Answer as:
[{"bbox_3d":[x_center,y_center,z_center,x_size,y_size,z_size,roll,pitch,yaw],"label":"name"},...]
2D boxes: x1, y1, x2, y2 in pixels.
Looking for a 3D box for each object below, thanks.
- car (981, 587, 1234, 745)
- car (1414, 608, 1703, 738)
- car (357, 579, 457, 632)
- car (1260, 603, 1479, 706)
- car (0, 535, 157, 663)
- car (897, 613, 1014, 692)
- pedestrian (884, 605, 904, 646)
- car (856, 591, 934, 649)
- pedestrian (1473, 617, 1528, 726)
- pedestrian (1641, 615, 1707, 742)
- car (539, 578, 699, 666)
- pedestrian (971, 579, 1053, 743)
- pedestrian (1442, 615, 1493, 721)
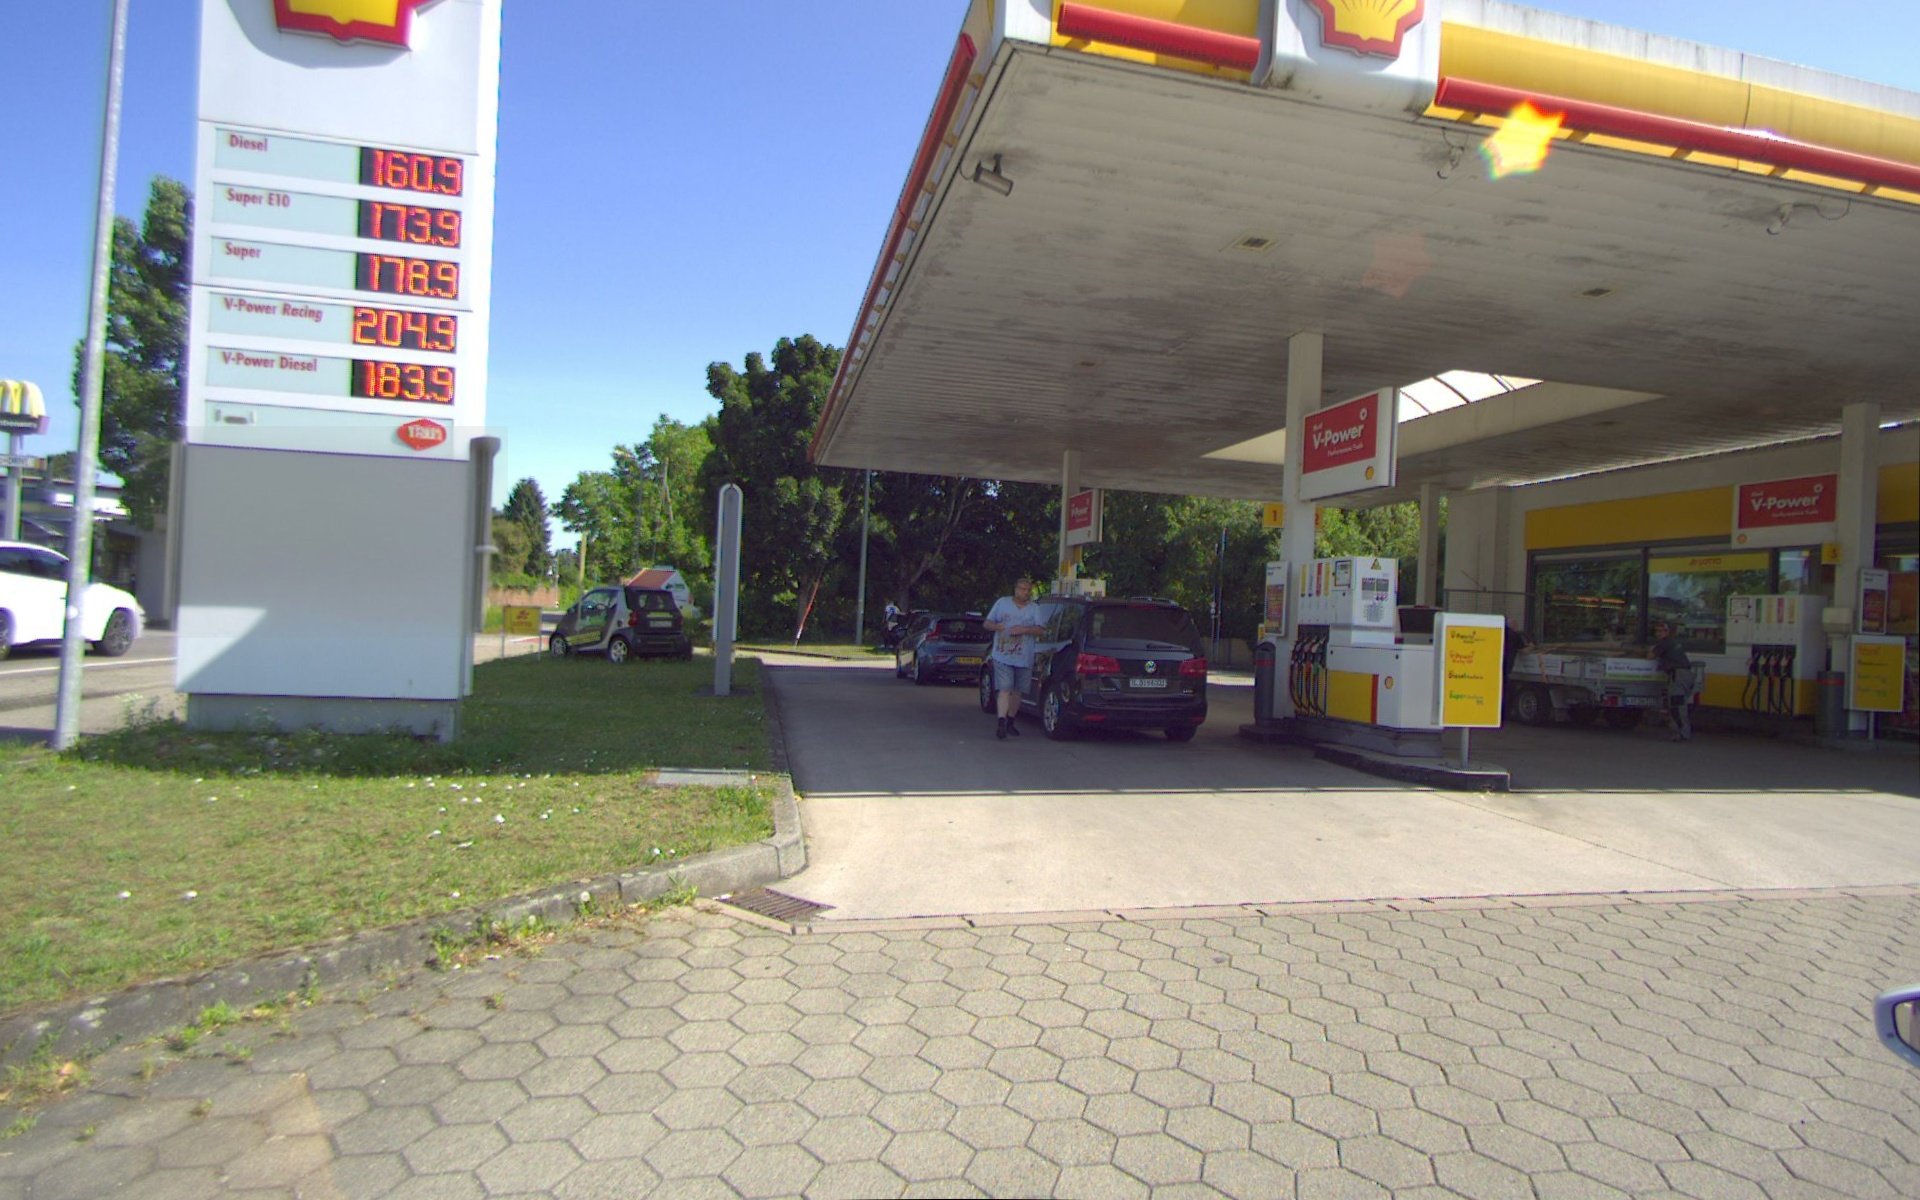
[{"bbox_3d":[1.610,0.725,12.424,1.735,1.599,3.867,3,-1,-13],"label":"car"},{"bbox_3d":[9.262,1.066,15.981,1.800,1.750,3.995,3,-2,-8],"label":"car"},{"bbox_3d":[-17.671,0.172,32.293,1.624,1.449,4.045,5,-1,-13],"label":"car"},{"bbox_3d":[8.438,1.053,21.261,1.826,1.862,4.768,3,-1,-13],"label":"car"},{"bbox_3d":[-13.584,-0.071,14.069,1.783,1.670,4.298,4,-1,-12],"label":"car"},{"bbox_3d":[-0.197,1.002,20.423,1.771,1.378,3.842,3,-1,-9],"label":"car"},{"bbox_3d":[-2.559,0.989,38.879,0.665,1.557,0.393,3,-1,-8],"label":"pedestrian"},{"bbox_3d":[-2.401,0.709,35.926,1.967,1.788,3.988,5,-2,-14],"label":"car"},{"bbox_3d":[8.193,1.071,15.240,0.491,1.614,0.475,3,-1,-9],"label":"pedestrian"},{"bbox_3d":[9.810,1.066,13.811,0.467,1.690,0.500,3,-1,-11],"label":"pedestrian"},{"bbox_3d":[-6.767,0.435,19.908,2.684,1.550,1.575,2,-3,32],"label":"car"},{"bbox_3d":[0.571,0.665,11.246,0.662,1.752,0.810,3,-1,-11],"label":"pedestrian"},{"bbox_3d":[8.136,1.079,16.098,0.491,1.653,0.475,3,-1,-9],"label":"pedestrian"}]
